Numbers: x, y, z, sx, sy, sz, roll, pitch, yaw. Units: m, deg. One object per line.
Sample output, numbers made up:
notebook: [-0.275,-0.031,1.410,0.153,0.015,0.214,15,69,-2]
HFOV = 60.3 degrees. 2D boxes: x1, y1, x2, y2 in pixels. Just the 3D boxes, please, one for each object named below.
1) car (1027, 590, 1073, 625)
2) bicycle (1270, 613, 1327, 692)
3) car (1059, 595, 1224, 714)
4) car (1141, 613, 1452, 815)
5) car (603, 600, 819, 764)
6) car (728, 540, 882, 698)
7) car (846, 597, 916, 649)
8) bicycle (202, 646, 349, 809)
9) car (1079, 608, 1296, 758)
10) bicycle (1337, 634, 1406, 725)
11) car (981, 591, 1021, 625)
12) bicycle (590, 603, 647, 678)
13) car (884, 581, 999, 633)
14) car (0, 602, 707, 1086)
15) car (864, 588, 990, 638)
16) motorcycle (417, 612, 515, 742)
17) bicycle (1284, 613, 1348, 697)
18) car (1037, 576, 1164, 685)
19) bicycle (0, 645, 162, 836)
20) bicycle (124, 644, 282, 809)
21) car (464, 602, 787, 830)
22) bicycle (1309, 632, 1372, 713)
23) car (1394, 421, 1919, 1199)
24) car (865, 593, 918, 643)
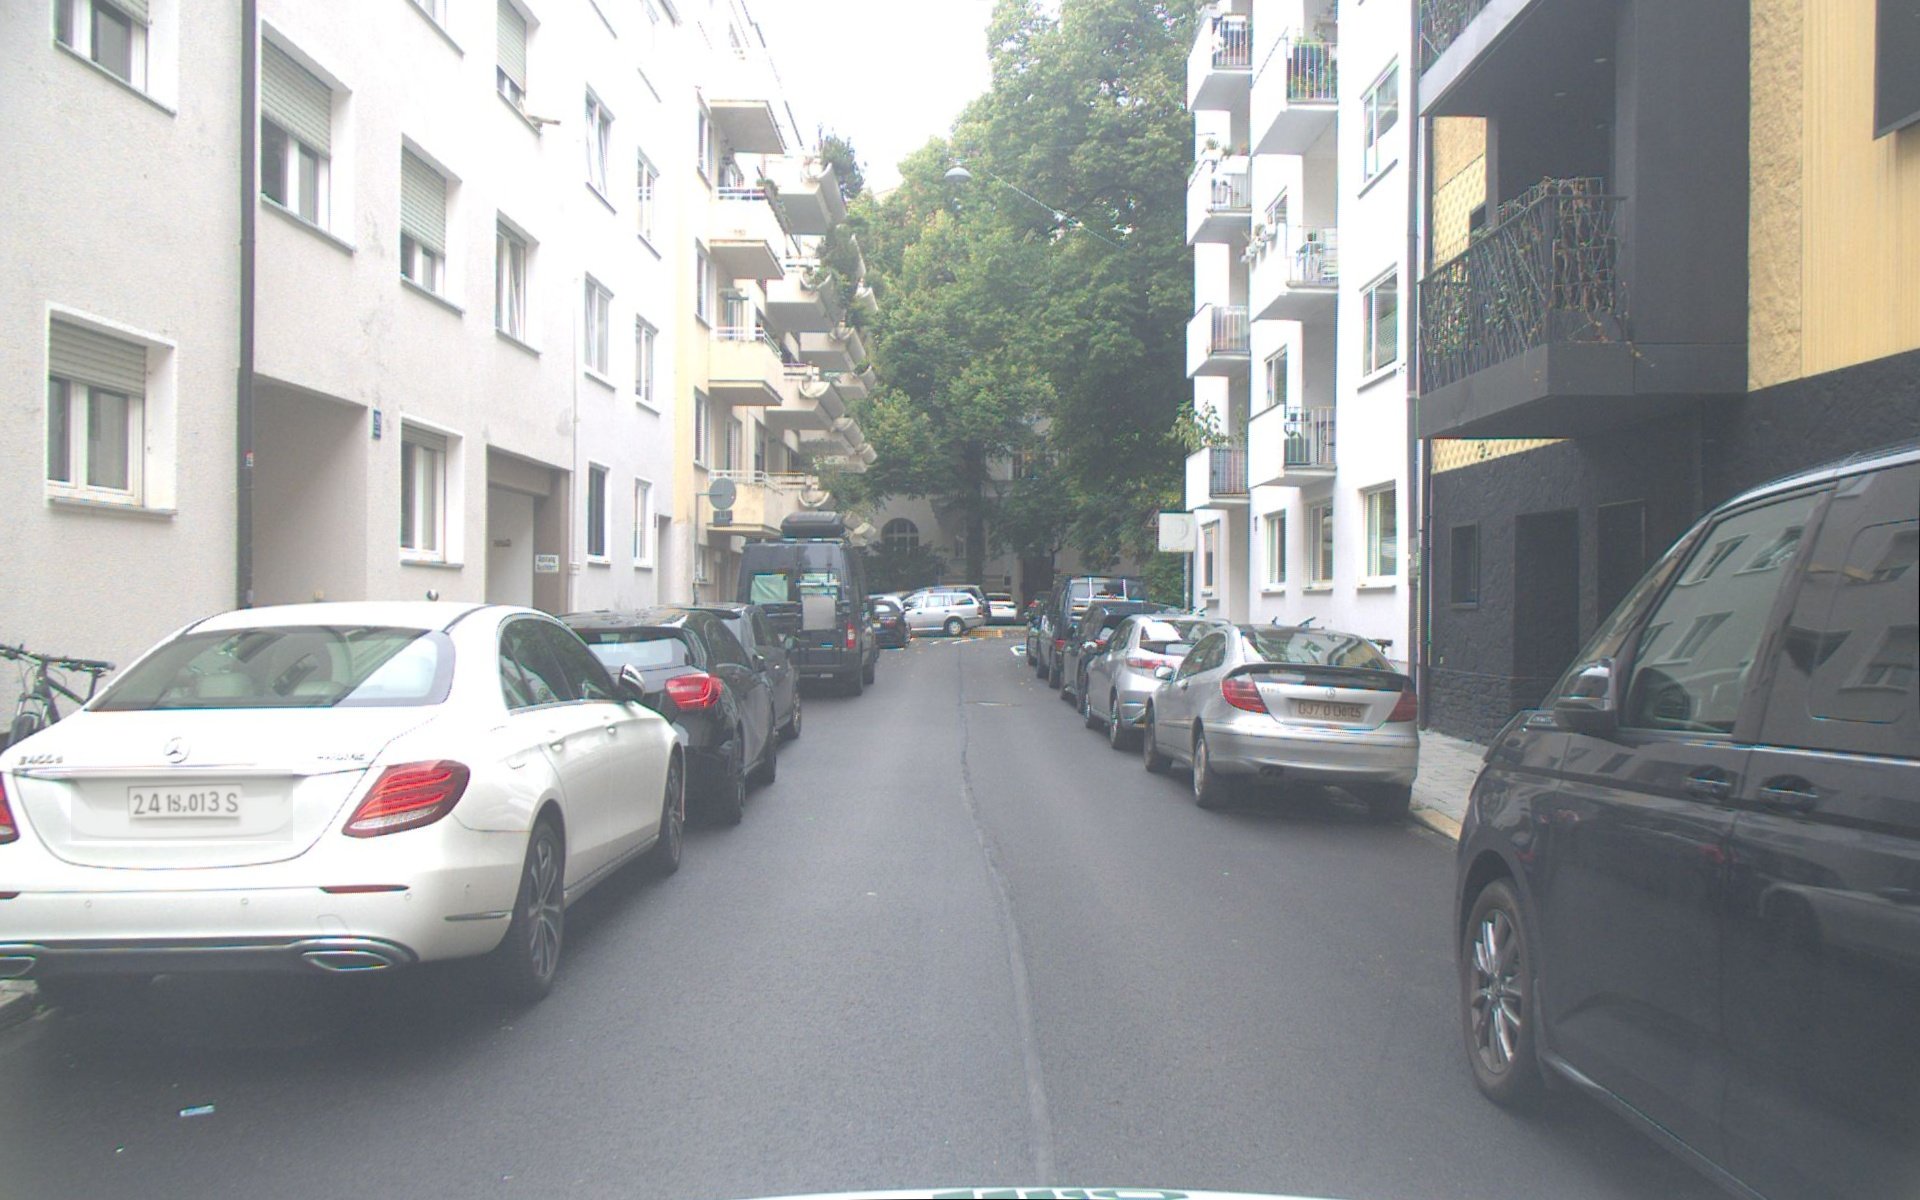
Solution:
car: [3.947,0.313,72.149,1.753,1.456,4.003,1,0,7]
bicycle: [5.265,0.797,25.798,0.559,1.171,1.430,1,0,-1]
car: [2.570,0.732,24.407,1.867,1.581,4.624,0,0,-1]
car: [2.708,0.853,14.257,1.699,1.454,4.201,0,0,-2]
car: [-2.488,0.772,17.349,1.578,1.471,3.743,-2,0,1]
car: [-2.451,0.289,27.456,1.977,2.318,5.390,-2,0,0]
car: [-2.184,0.609,46.557,1.760,1.300,4.616,-2,0,-1]
bicycle: [-4.867,0.876,11.843,0.380,1.034,1.624,-1,0,-1]
car: [2.519,0.874,19.322,1.724,1.456,4.259,3,0,-2]
bicycle: [5.207,0.986,20.991,0.467,1.066,1.521,1,0,-1]
car: [1.833,0.325,72.949,1.683,1.456,4.001,1,0,2]
bicycle: [-5.283,0.605,25.697,0.453,1.117,1.870,1,0,1]
car: [-0.696,0.246,60.943,4.135,1.713,1.902,-2,0,-2]
car: [-2.411,0.743,7.424,1.873,1.462,4.808,0,0,-1]
car: [-1.096,0.430,55.689,4.142,1.480,1.721,-3,0,-1]
motorcycle: [-4.971,0.740,16.745,0.587,1.224,1.856,0,0,-5]
bicycle: [5.215,0.788,24.297,0.559,1.171,1.563,1,0,-1]
car: [2.469,0.509,30.052,1.836,1.822,4.781,0,0,-1]
bicycle: [-5.403,0.817,10.068,0.371,1.034,1.441,-1,0,0]
bicycle: [-5.294,0.850,11.646,0.390,1.034,1.574,-1,0,-1]
car: [-2.343,0.742,12.627,1.765,1.442,4.224,0,0,-2]
bicycle: [5.174,0.970,22.569,0.467,1.020,1.552,1,0,-1]
car: [2.708,0.639,3.803,1.942,1.871,5.183,2,0,-1]
car: [-2.101,0.529,51.240,1.529,1.446,3.832,-2,0,-1]
